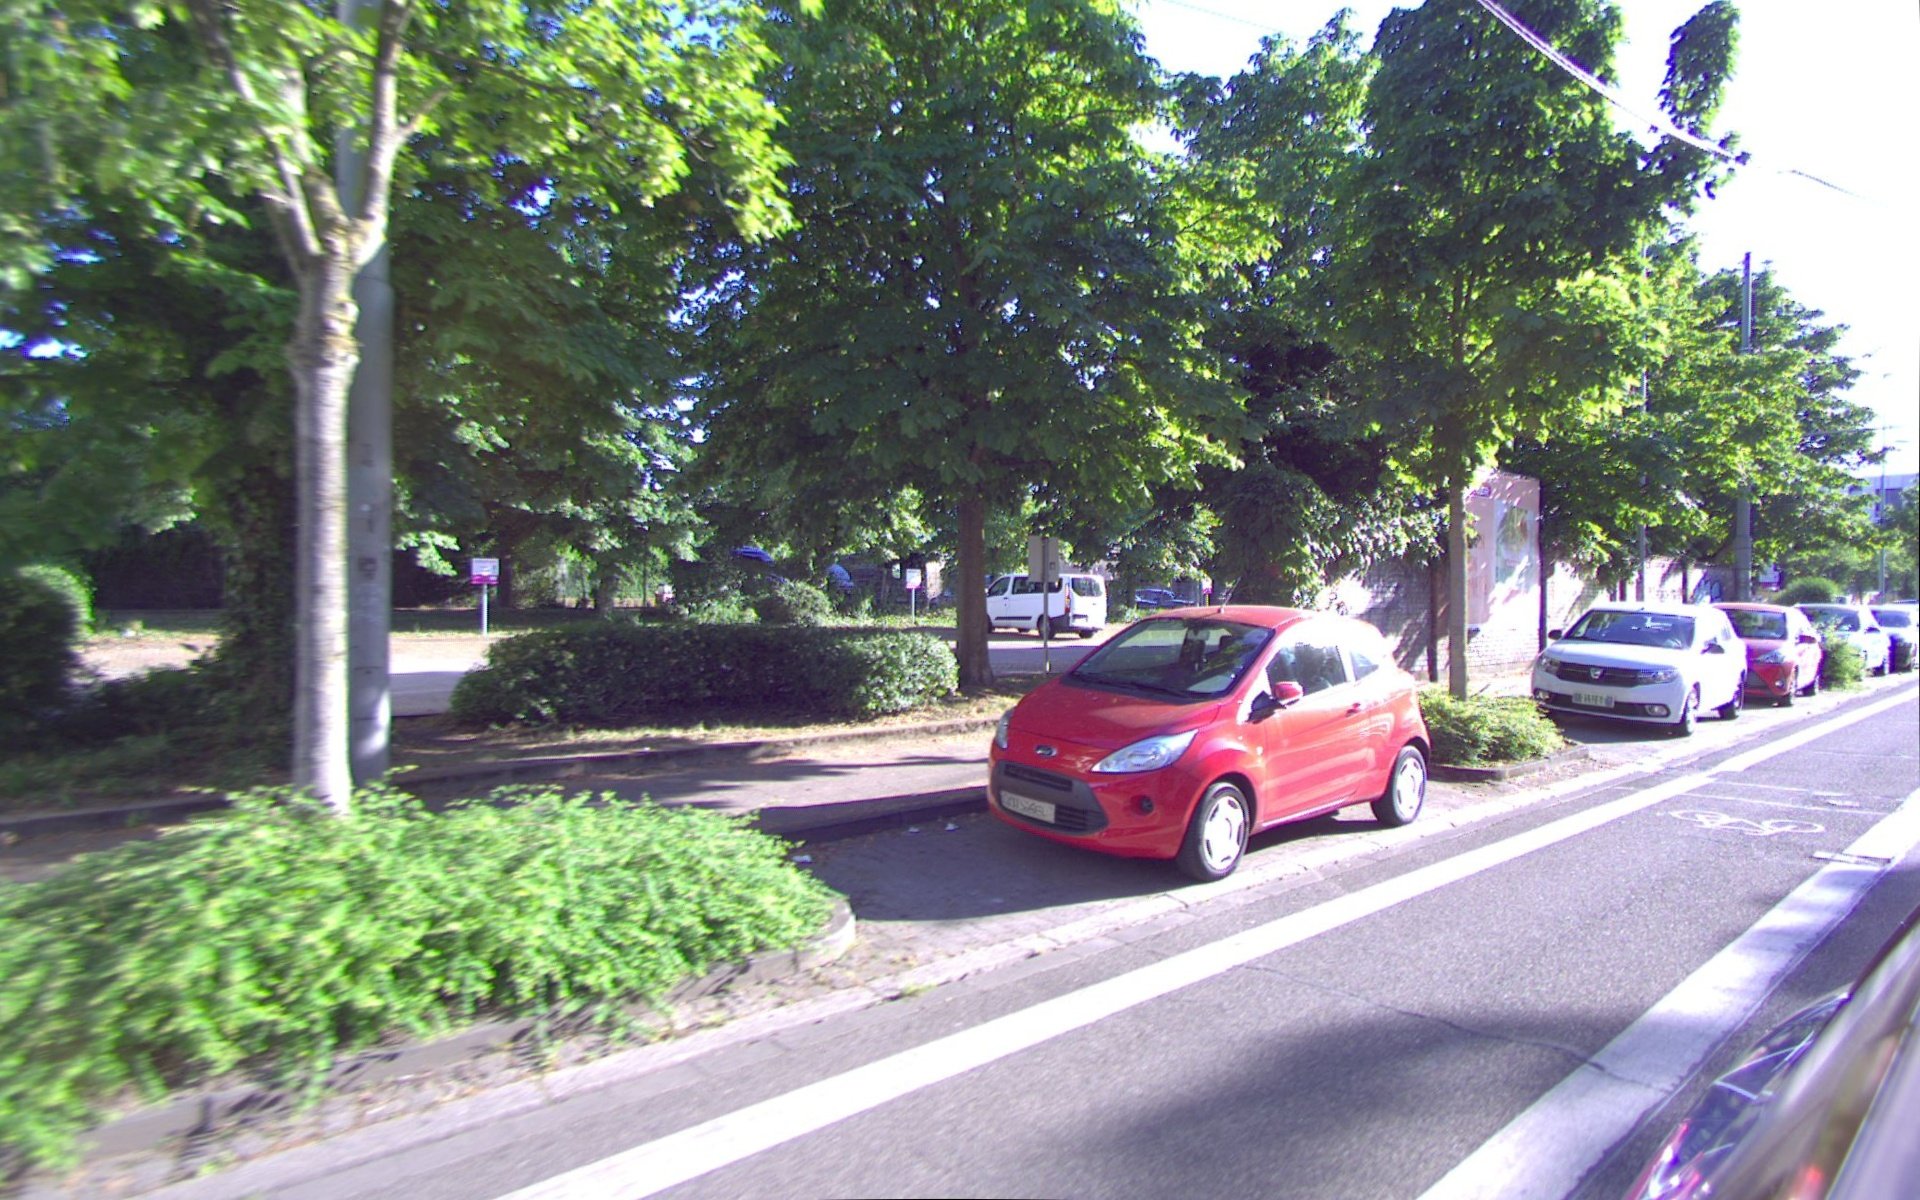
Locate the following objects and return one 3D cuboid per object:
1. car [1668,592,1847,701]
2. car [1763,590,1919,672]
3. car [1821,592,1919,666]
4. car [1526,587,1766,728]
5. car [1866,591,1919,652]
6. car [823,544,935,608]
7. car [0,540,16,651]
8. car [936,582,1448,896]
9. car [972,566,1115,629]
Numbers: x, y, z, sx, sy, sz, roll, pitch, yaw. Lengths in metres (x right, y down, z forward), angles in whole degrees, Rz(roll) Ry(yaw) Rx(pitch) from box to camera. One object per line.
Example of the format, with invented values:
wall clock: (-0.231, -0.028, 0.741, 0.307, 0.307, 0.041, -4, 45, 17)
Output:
car: (13.217, 0.664, 16.693, 3.932, 1.549, 1.691, 0, 2, -42)
car: (18.688, 0.589, 21.416, 3.925, 1.549, 1.694, 0, 2, -37)
car: (22.051, 0.619, 23.904, 4.274, 1.549, 1.694, 0, 2, -37)
car: (9.097, 0.621, 13.299, 3.931, 1.549, 1.692, 0, 2, -42)
car: (26.194, 0.561, 27.414, 3.925, 1.549, 1.694, 0, 2, -37)
car: (-3.070, -0.882, 37.881, 2.106, 2.269, 4.194, 0, 1, -41)
car: (-19.643, -0.044, 19.500, 1.965, 2.008, 4.822, 0, -1, -41)
car: (1.663, 0.684, 6.788, 3.337, 1.527, 1.639, 0, 3, -40)
car: (2.552, -0.040, 31.963, 2.007, 1.848, 4.478, 0, -1, -37)
